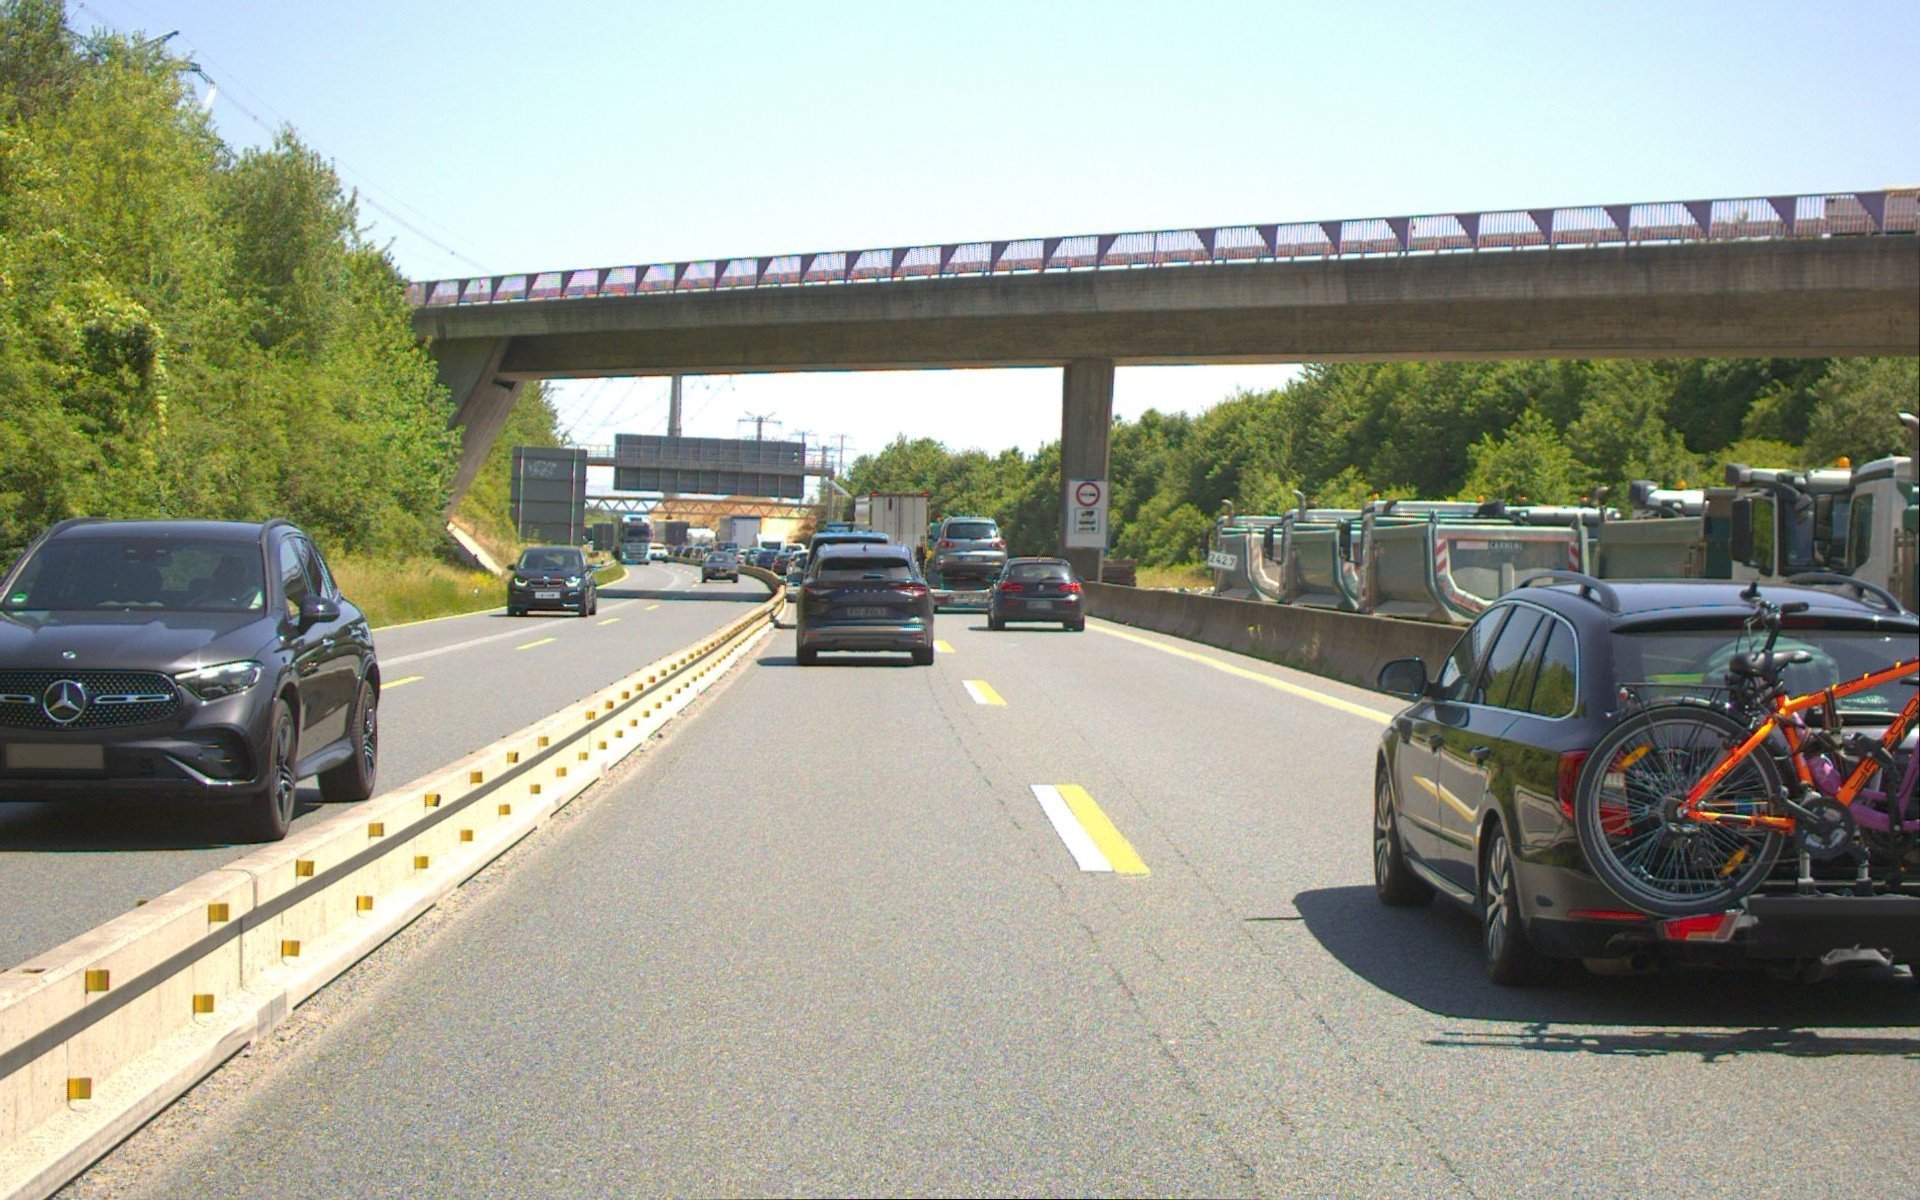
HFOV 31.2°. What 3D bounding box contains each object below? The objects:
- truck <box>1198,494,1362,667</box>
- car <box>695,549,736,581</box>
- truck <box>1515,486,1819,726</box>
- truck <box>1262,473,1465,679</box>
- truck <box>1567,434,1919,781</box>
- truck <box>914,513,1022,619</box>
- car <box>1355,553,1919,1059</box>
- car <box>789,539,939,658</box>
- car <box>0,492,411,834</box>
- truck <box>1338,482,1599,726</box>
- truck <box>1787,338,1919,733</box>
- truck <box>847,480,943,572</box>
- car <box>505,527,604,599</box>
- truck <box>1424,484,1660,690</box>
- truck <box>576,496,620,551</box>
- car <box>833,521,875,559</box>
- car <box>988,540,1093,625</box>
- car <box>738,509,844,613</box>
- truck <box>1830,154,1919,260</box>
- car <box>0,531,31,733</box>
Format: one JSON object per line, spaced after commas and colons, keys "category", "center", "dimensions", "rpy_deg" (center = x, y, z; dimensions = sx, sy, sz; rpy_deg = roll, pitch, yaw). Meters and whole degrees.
{"category": "truck", "center": [7.526, -0.512, 81.991], "dimensions": [2.687, 3.830, 9.326], "rpy_deg": [1, 1, -2]}
{"category": "car", "center": [-11.229, -1.604, 158.146], "dimensions": [1.673, 1.388, 4.071], "rpy_deg": [1, 0, -2]}
{"category": "truck", "center": [11.338, 0.009, 56.136], "dimensions": [2.687, 3.545, 9.326], "rpy_deg": [1, 1, -2]}
{"category": "truck", "center": [8.030, -0.529, 69.599], "dimensions": [2.687, 3.843, 9.326], "rpy_deg": [1, 1, -2]}
{"category": "truck", "center": [9.427, 0.009, 40.081], "dimensions": [2.687, 3.545, 9.326], "rpy_deg": [1, 1, -2]}
{"category": "truck", "center": [0.145, -0.912, 87.628], "dimensions": [2.405, 2.549, 7.501], "rpy_deg": [1, 1, -2]}
{"category": "car", "center": [2.723, 0.601, 12.710], "dimensions": [1.899, 1.485, 4.948], "rpy_deg": [1, 0, 0]}
{"category": "car", "center": [-1.257, -0.045, 46.567], "dimensions": [1.899, 1.500, 4.276], "rpy_deg": [1, 1, 0]}
{"category": "car", "center": [-4.314, 0.255, 18.956], "dimensions": [1.843, 1.605, 4.699], "rpy_deg": [2, 1, -1]}
{"category": "truck", "center": [8.429, -0.013, 58.172], "dimensions": [2.687, 3.748, 9.326], "rpy_deg": [1, 1, -2]}
{"category": "truck", "center": [9.986, -0.555, 30.483], "dimensions": [2.687, 3.545, 9.326], "rpy_deg": [1, 1, -2]}
{"category": "truck", "center": [-2.915, -3.216, 151.000], "dimensions": [3.292, 3.832, 10.112], "rpy_deg": [1, 1, -6]}
{"category": "car", "center": [-9.166, -0.848, 78.033], "dimensions": [1.778, 1.571, 4.069], "rpy_deg": [1, 1, 0]}
{"category": "truck", "center": [11.275, -0.313, 67.577], "dimensions": [2.687, 3.714, 9.326], "rpy_deg": [1, 1, -2]}
{"category": "truck", "center": [-21.816, -4.587, 207.199], "dimensions": [2.508, 3.175, 10.112], "rpy_deg": [1, 1, -6]}
{"category": "car", "center": [-5.760, -3.235, 185.980], "dimensions": [1.899, 1.962, 4.277], "rpy_deg": [1, 1, -6]}
{"category": "car", "center": [1.557, -0.352, 67.648], "dimensions": [1.899, 1.580, 4.276], "rpy_deg": [1, 1, 0]}
{"category": "car", "center": [-3.333, -0.773, 68.444], "dimensions": [1.899, 1.962, 4.276], "rpy_deg": [1, 1, 0]}
{"category": "truck", "center": [22.204, -8.834, 76.478], "dimensions": [1.931, 2.059, 5.514], "rpy_deg": [1, 1, -37]}
{"category": "car", "center": [-8.055, 0.252, 24.557], "dimensions": [1.723, 1.516, 4.185], "rpy_deg": [1, 1, 0]}
